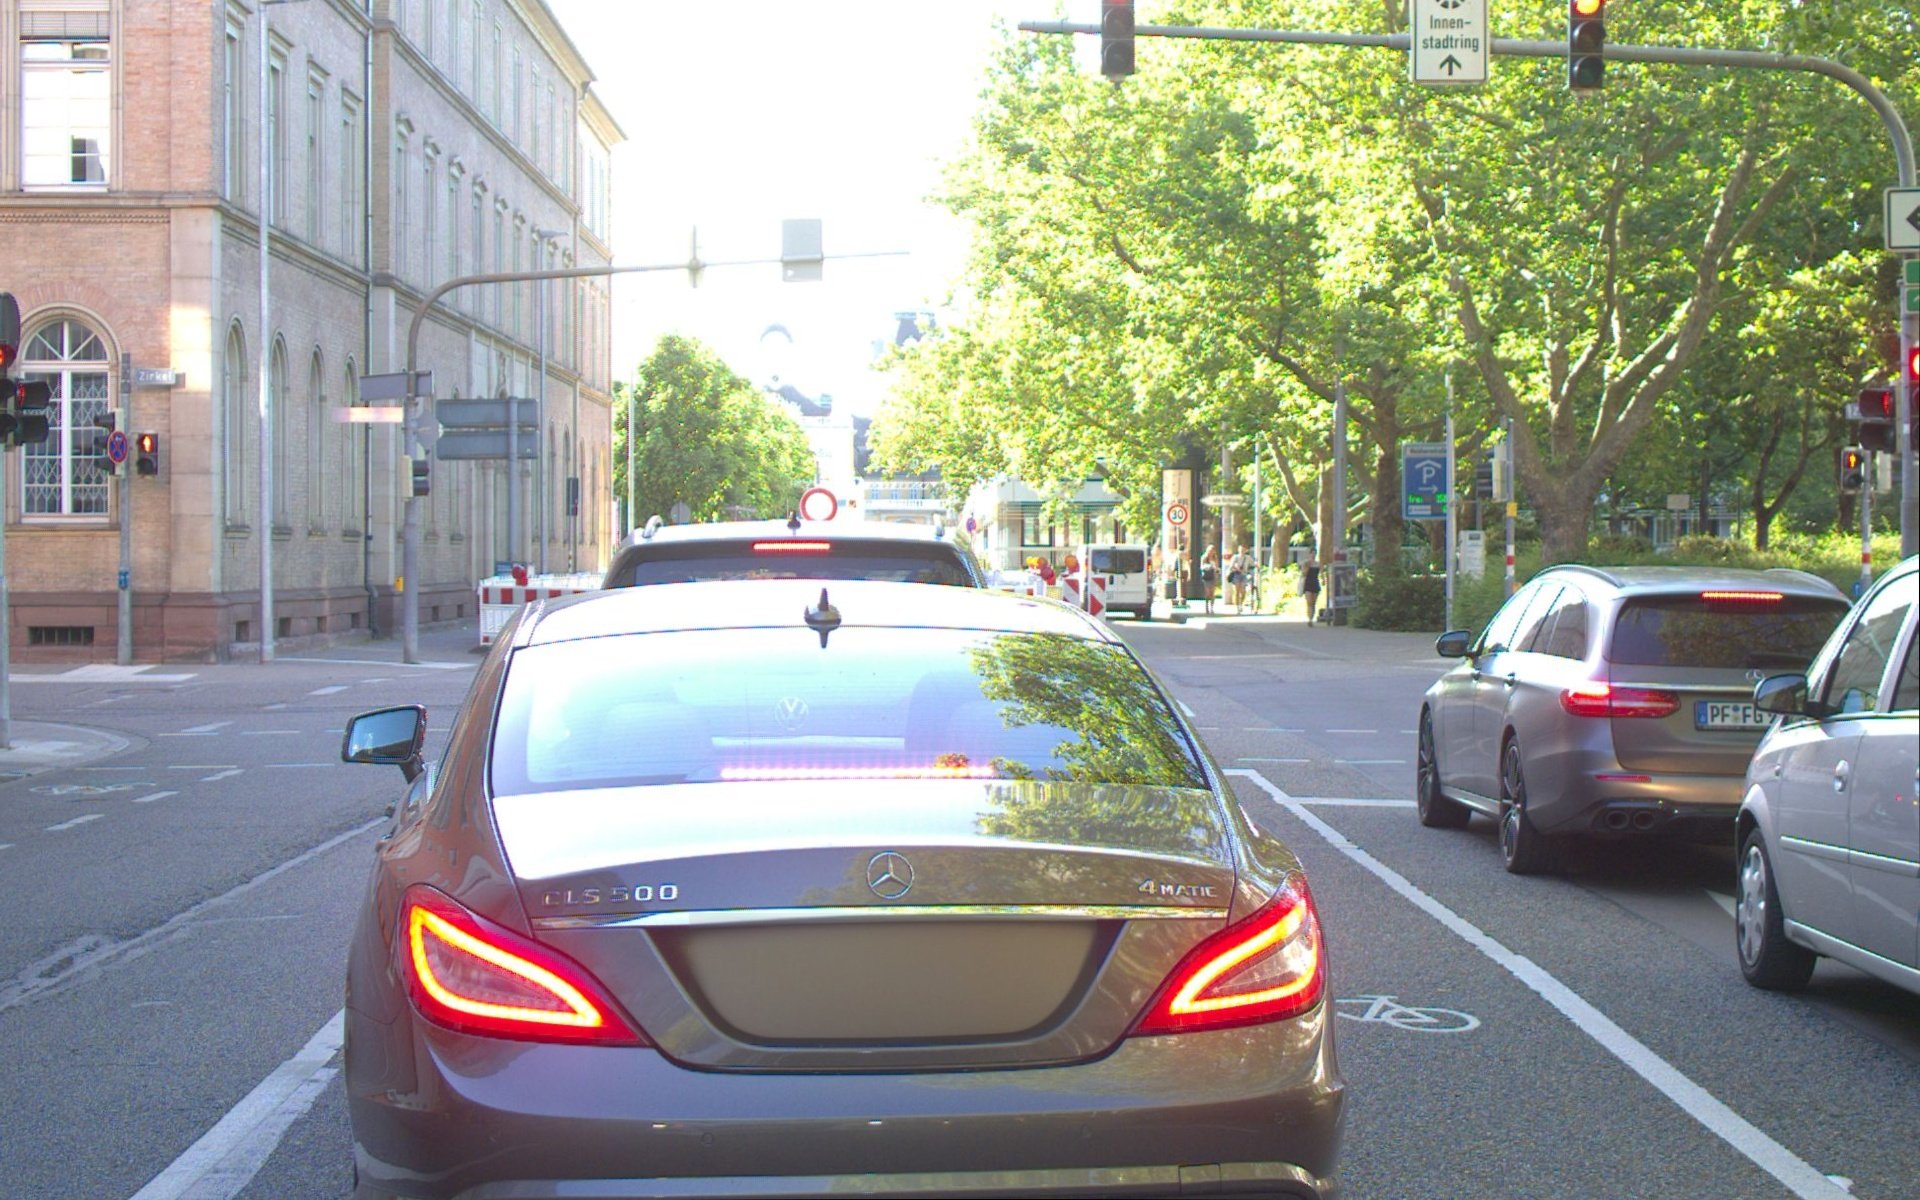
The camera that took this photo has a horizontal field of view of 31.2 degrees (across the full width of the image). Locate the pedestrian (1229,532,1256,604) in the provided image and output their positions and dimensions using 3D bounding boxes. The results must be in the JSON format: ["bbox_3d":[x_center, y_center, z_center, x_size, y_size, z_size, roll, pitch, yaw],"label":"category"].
[{"bbox_3d":[7.181,-0.809,87.343,0.603,1.815,0.651,1,1,-1],"label":"pedestrian"}]

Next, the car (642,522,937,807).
[{"bbox_3d":[-1.075,0.363,23.251,1.820,1.756,4.000,0,1,-1],"label":"car"}]

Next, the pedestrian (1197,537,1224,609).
[{"bbox_3d":[6.374,-0.684,87.501,0.603,1.815,0.651,0,1,-1],"label":"pedestrian"}]

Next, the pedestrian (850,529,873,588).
[{"bbox_3d":[-3.366,-1.426,117.150,0.724,2.007,0.748,0,1,-4],"label":"pedestrian"}]

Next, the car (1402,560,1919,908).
[{"bbox_3d":[3.550,0.567,17.468,1.913,1.459,4.669,2,1,-1],"label":"car"}]

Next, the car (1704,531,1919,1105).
[{"bbox_3d":[3.571,0.615,10.702,1.701,1.597,3.859,2,1,1],"label":"car"}]

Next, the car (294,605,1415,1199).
[{"bbox_3d":[-0.441,0.780,7.668,1.803,1.451,4.352,0,1,-8],"label":"car"}]

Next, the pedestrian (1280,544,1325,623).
[{"bbox_3d":[6.924,-0.337,69.463,0.830,1.601,0.651,1,1,-1],"label":"pedestrian"}]

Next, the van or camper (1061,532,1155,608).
[{"bbox_3d":[3.836,-0.808,89.909,1.993,1.935,4.595,0,1,-3],"label":"van or camper"}]

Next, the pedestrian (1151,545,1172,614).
[{"bbox_3d":[5.905,-0.610,100.657,0.539,2.007,0.474,1,0,-1],"label":"pedestrian"}]

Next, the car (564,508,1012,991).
[{"bbox_3d":[-0.678,0.483,13.722,1.517,1.641,3.881,1,1,-3],"label":"car"}]
